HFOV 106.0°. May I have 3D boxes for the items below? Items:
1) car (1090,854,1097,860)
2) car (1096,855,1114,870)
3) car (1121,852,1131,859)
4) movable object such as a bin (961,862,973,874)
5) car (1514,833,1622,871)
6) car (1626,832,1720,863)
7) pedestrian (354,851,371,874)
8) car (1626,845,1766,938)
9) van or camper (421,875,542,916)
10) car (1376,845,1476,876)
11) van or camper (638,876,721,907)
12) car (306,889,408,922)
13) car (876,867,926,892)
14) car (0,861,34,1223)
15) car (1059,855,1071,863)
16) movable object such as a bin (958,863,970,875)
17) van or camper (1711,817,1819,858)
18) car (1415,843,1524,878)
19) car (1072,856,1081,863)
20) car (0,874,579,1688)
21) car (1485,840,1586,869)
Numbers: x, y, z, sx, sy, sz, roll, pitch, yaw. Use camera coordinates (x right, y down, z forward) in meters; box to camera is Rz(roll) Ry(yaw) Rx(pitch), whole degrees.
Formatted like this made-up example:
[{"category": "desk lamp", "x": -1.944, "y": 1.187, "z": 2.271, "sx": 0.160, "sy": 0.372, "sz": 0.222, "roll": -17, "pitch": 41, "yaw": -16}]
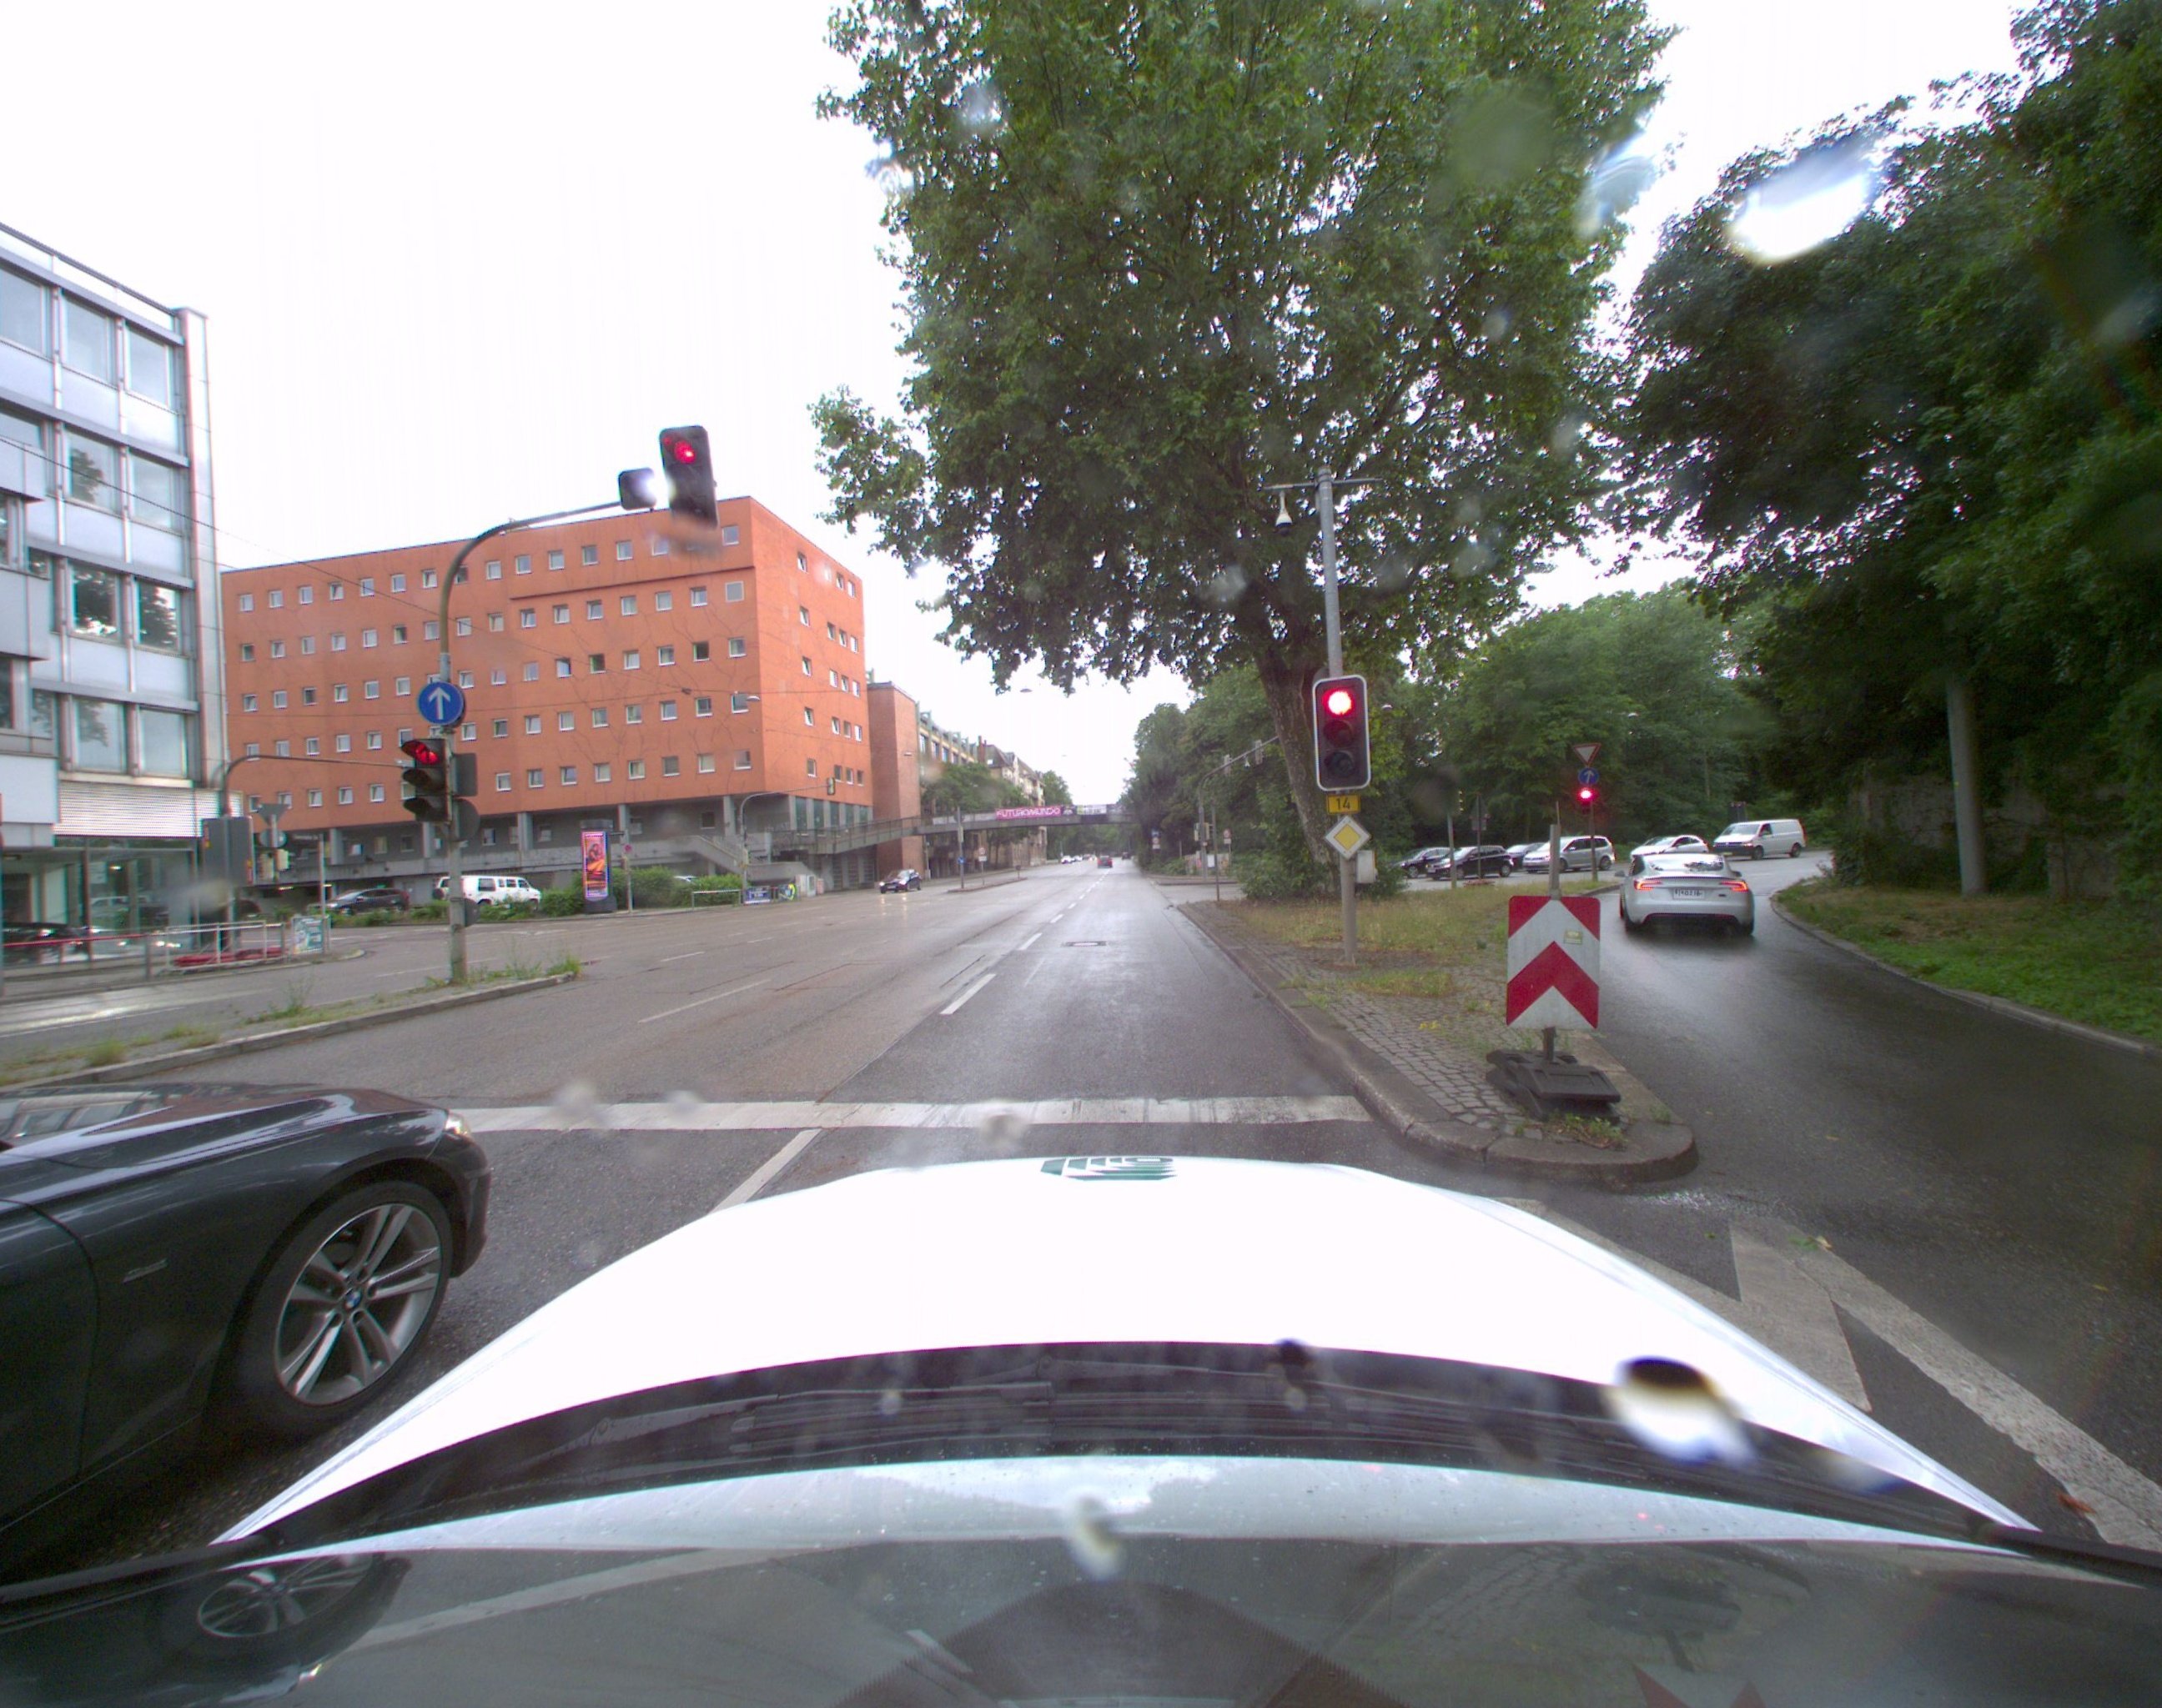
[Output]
[{"category": "car", "x": 3.400, "y": 0.876, "z": 216.356, "sx": 1.676, "sy": 1.436, "sz": 3.865, "roll": -3, "pitch": -1, "yaw": 3}, {"category": "car", "x": 2.902, "y": 1.043, "z": 99.489, "sx": 1.998, "sy": 1.643, "sz": 4.376, "roll": -3, "pitch": 0, "yaw": 0}, {"category": "car", "x": 8.994, "y": 0.335, "z": 163.433, "sx": 1.835, "sy": 1.453, "sz": 3.778, "roll": 0, "pitch": -1, "yaw": 2}, {"category": "movable object such as a bin", "x": -15.240, "y": 1.929, "z": 109.024, "sx": 1.293, "sy": 1.518, "sz": 1.215, "roll": -3, "pitch": 0, "yaw": 3}, {"category": "car", "x": 22.593, "y": -0.084, "z": 37.808, "sx": 4.203, "sy": 1.680, "sz": 1.898, "roll": 0, "pitch": -1, "yaw": -14}, {"category": "car", "x": 28.846, "y": -0.296, "z": 39.703, "sx": 3.857, "sy": 1.461, "sz": 1.650, "roll": 0, "pitch": -1, "yaw": -14}, {"category": "pedestrian", "x": -56.388, "y": 0.662, "z": 63.917, "sx": 0.757, "sy": 1.839, "sz": 0.727, "roll": -1, "pitch": -1, "yaw": 11}, {"category": "car", "x": 11.615, "y": 0.573, "z": 15.533, "sx": 1.834, "sy": 1.448, "sz": 4.648, "roll": 2, "pitch": 2, "yaw": 36}, {"category": "van or camper", "x": -32.840, "y": 2.226, "z": 44.874, "sx": 2.113, "sy": 1.977, "sz": 5.466, "roll": 0, "pitch": -1, "yaw": 9}, {"category": "car", "x": 16.823, "y": 0.317, "z": 39.785, "sx": 4.205, "sy": 1.440, "sz": 1.941, "roll": 0, "pitch": -1, "yaw": -14}, {"category": "van or camper", "x": -23.996, "y": 2.218, "z": 48.768, "sx": 3.964, "sy": 1.627, "sz": 1.918, "roll": -3, "pitch": 0, "yaw": 8}, {"category": "car", "x": -40.244, "y": 2.823, "z": 45.402, "sx": 1.699, "sy": 1.612, "sz": 4.097, "roll": -1, "pitch": -1, "yaw": 9}, {"category": "car", "x": -11.225, "y": 1.557, "z": 51.044, "sx": 1.677, "sy": 1.419, "sz": 4.222, "roll": -4, "pitch": -2, "yaw": 6}, {"category": "car", "x": -6.004, "y": 0.848, "z": 1.667, "sx": 1.801, "sy": 1.656, "sz": 4.449, "roll": 0, "pitch": -1, "yaw": 4}, {"category": "car", "x": -3.185, "y": 0.998, "z": 166.038, "sx": 1.881, "sy": 1.610, "sz": 4.461, "roll": -3, "pitch": -1, "yaw": 4}, {"category": "movable object such as a bin", "x": -15.430, "y": 1.939, "z": 107.434, "sx": 1.277, "sy": 1.518, "sz": 1.274, "roll": -3, "pitch": 0, "yaw": 3}, {"category": "van or camper", "x": 34.912, "y": -0.825, "z": 41.597, "sx": 4.862, "sy": 1.947, "sz": 1.895, "roll": -1, "pitch": -1, "yaw": -18}, {"category": "car", "x": 17.162, "y": 0.285, "z": 36.016, "sx": 4.192, "sy": 1.460, "sz": 1.784, "roll": 0, "pitch": -1, "yaw": -14}, {"category": "car", "x": -1.117, "y": 1.255, "z": 191.761, "sx": 1.701, "sy": 1.464, "sz": 4.047, "roll": -3, "pitch": -1, "yaw": 5}, {"category": "car", "x": -2.926, "y": 0.838, "z": 0.878, "sx": 1.769, "sy": 1.458, "sz": 4.480, "roll": -3, "pitch": -1, "yaw": 3}, {"category": "car", "x": 22.989, "y": 0.038, "z": 41.217, "sx": 4.438, "sy": 1.402, "sz": 1.821, "roll": 0, "pitch": -1, "yaw": -14}]
